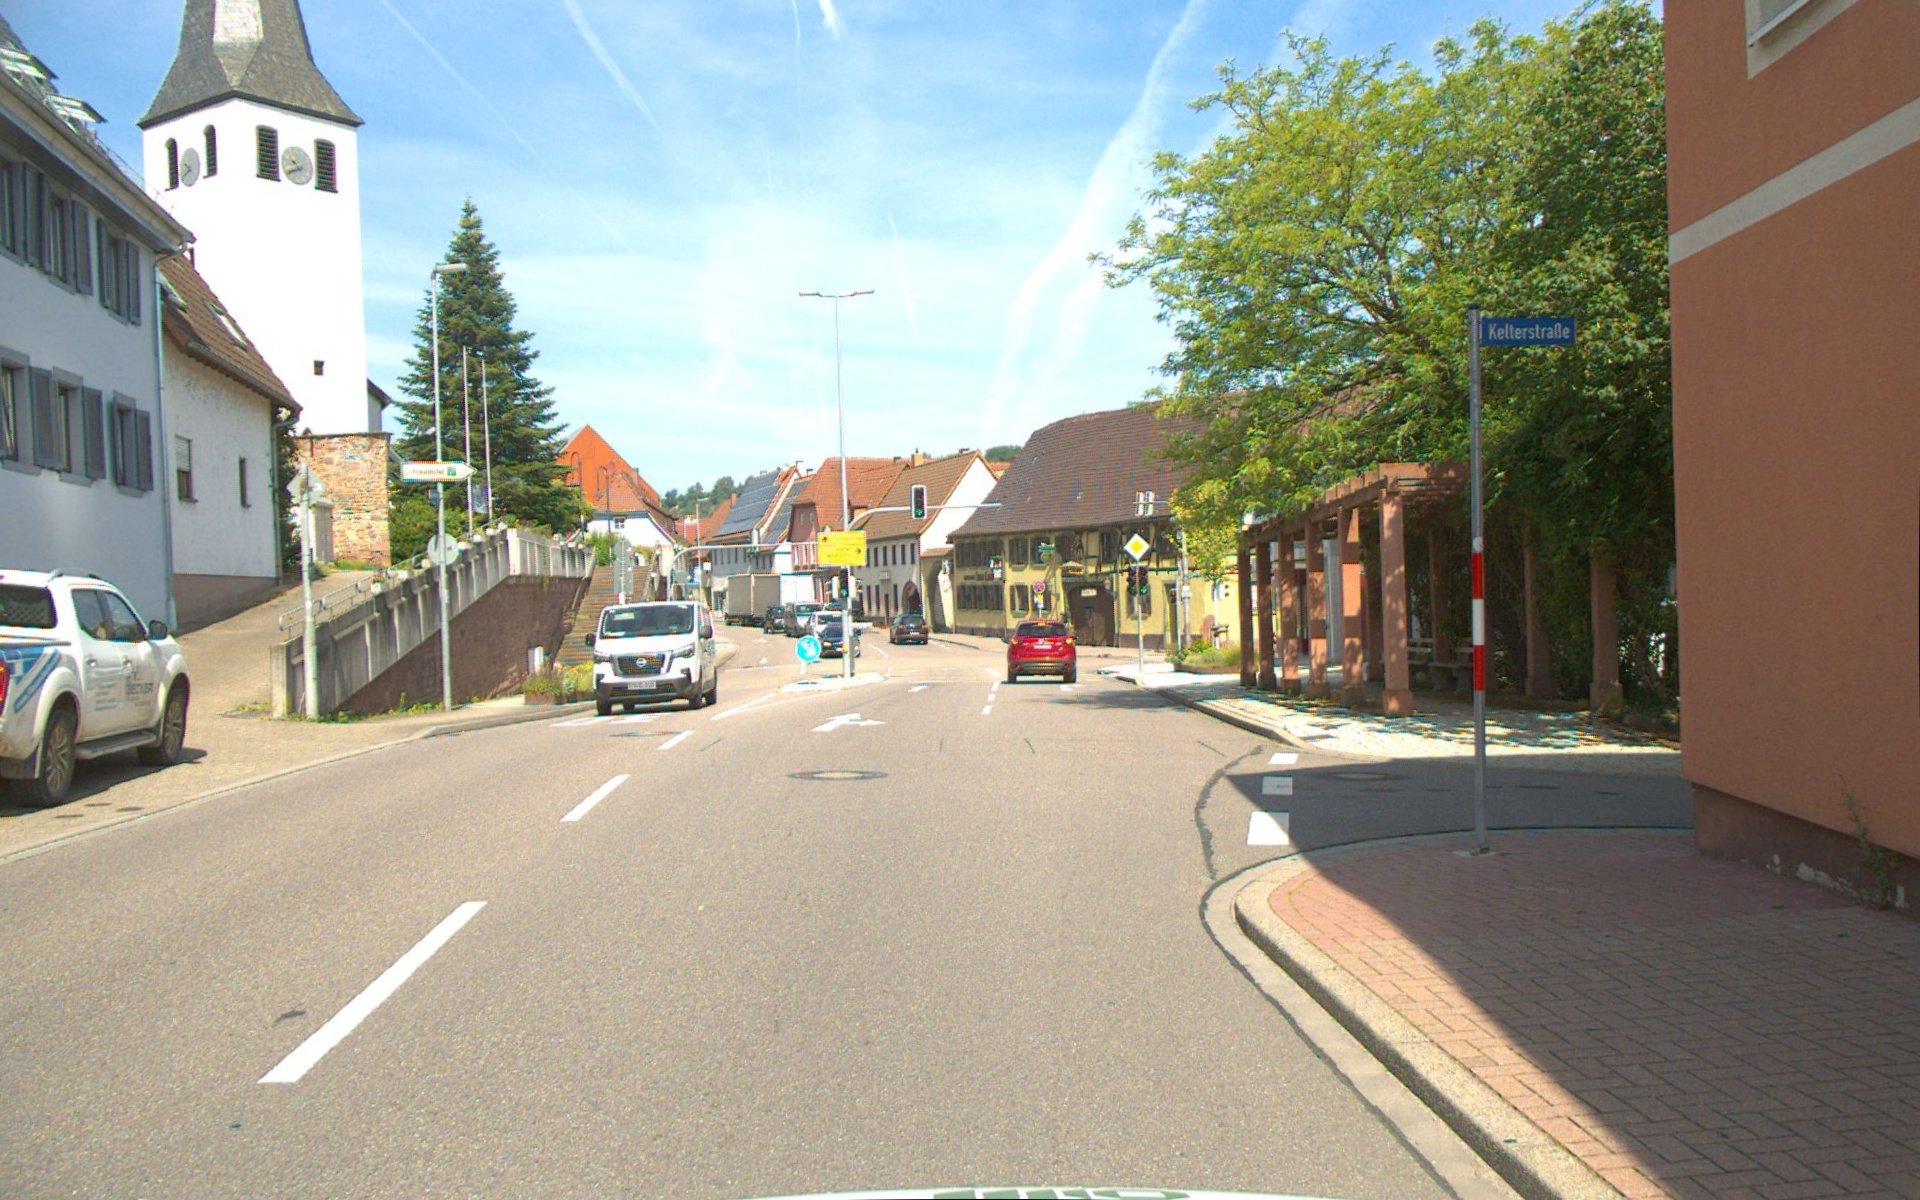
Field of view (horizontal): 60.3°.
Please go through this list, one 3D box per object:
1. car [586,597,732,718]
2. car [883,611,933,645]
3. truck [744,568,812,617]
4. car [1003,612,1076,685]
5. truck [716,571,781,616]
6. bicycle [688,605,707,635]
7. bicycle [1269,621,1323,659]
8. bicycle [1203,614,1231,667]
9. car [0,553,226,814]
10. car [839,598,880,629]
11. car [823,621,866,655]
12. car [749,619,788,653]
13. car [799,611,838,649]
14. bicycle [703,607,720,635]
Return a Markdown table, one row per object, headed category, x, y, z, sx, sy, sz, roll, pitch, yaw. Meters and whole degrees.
| category | x | y | z | sx | sy | sz | roll | pitch | yaw |
| --- | --- | --- | --- | --- | --- | --- | --- | --- | --- |
| car | -5.459 | 0.970 | 30.652 | 1.930 | 1.966 | 5.310 | -2 | 0 | -3 |
| car | -2.969 | 1.535 | 93.175 | 1.792 | 1.769 | 3.987 | -3 | 1 | -17 |
| truck | -14.159 | -0.578 | 127.947 | 3.176 | 3.611 | 9.174 | 0 | 0 | -20 |
| car | 2.171 | 1.257 | 44.318 | 1.767 | 1.692 | 3.815 | -2 | 1 | 4 |
| truck | -17.638 | -0.463 | 137.298 | 3.113 | 3.521 | 10.647 | 1 | -1 | -20 |
| bicycle | -16.124 | 1.206 | 101.533 | 0.627 | 1.810 | 2.671 | 0 | 0 | 3 |
| bicycle | 11.856 | 1.408 | 58.417 | 1.766 | 1.256 | 0.549 | -2 | 0 | 2 |
| bicycle | 6.705 | 1.052 | 43.194 | 0.518 | 1.302 | 1.993 | -5 | -1 | 5 |
| car | -7.915 | 0.573 | 14.066 | 1.772 | 1.830 | 5.273 | 2 | 0 | -10 |
| car | -6.801 | 0.893 | 111.767 | 1.818 | 2.049 | 3.978 | 0 | 0 | -19 |
| car | -5.580 | 1.825 | 80.191 | 1.783 | 1.459 | 4.248 | -1 | 0 | 0 |
| car | -13.385 | 2.468 | 115.390 | 1.731 | 2.285 | 4.528 | 0 | 0 | -19 |
| car | -8.018 | 1.658 | 93.459 | 1.787 | 1.939 | 4.953 | -2 | 1 | -9 |
| bicycle | -15.194 | 1.276 | 101.236 | 0.546 | 1.635 | 2.563 | 0 | 0 | 3 |
